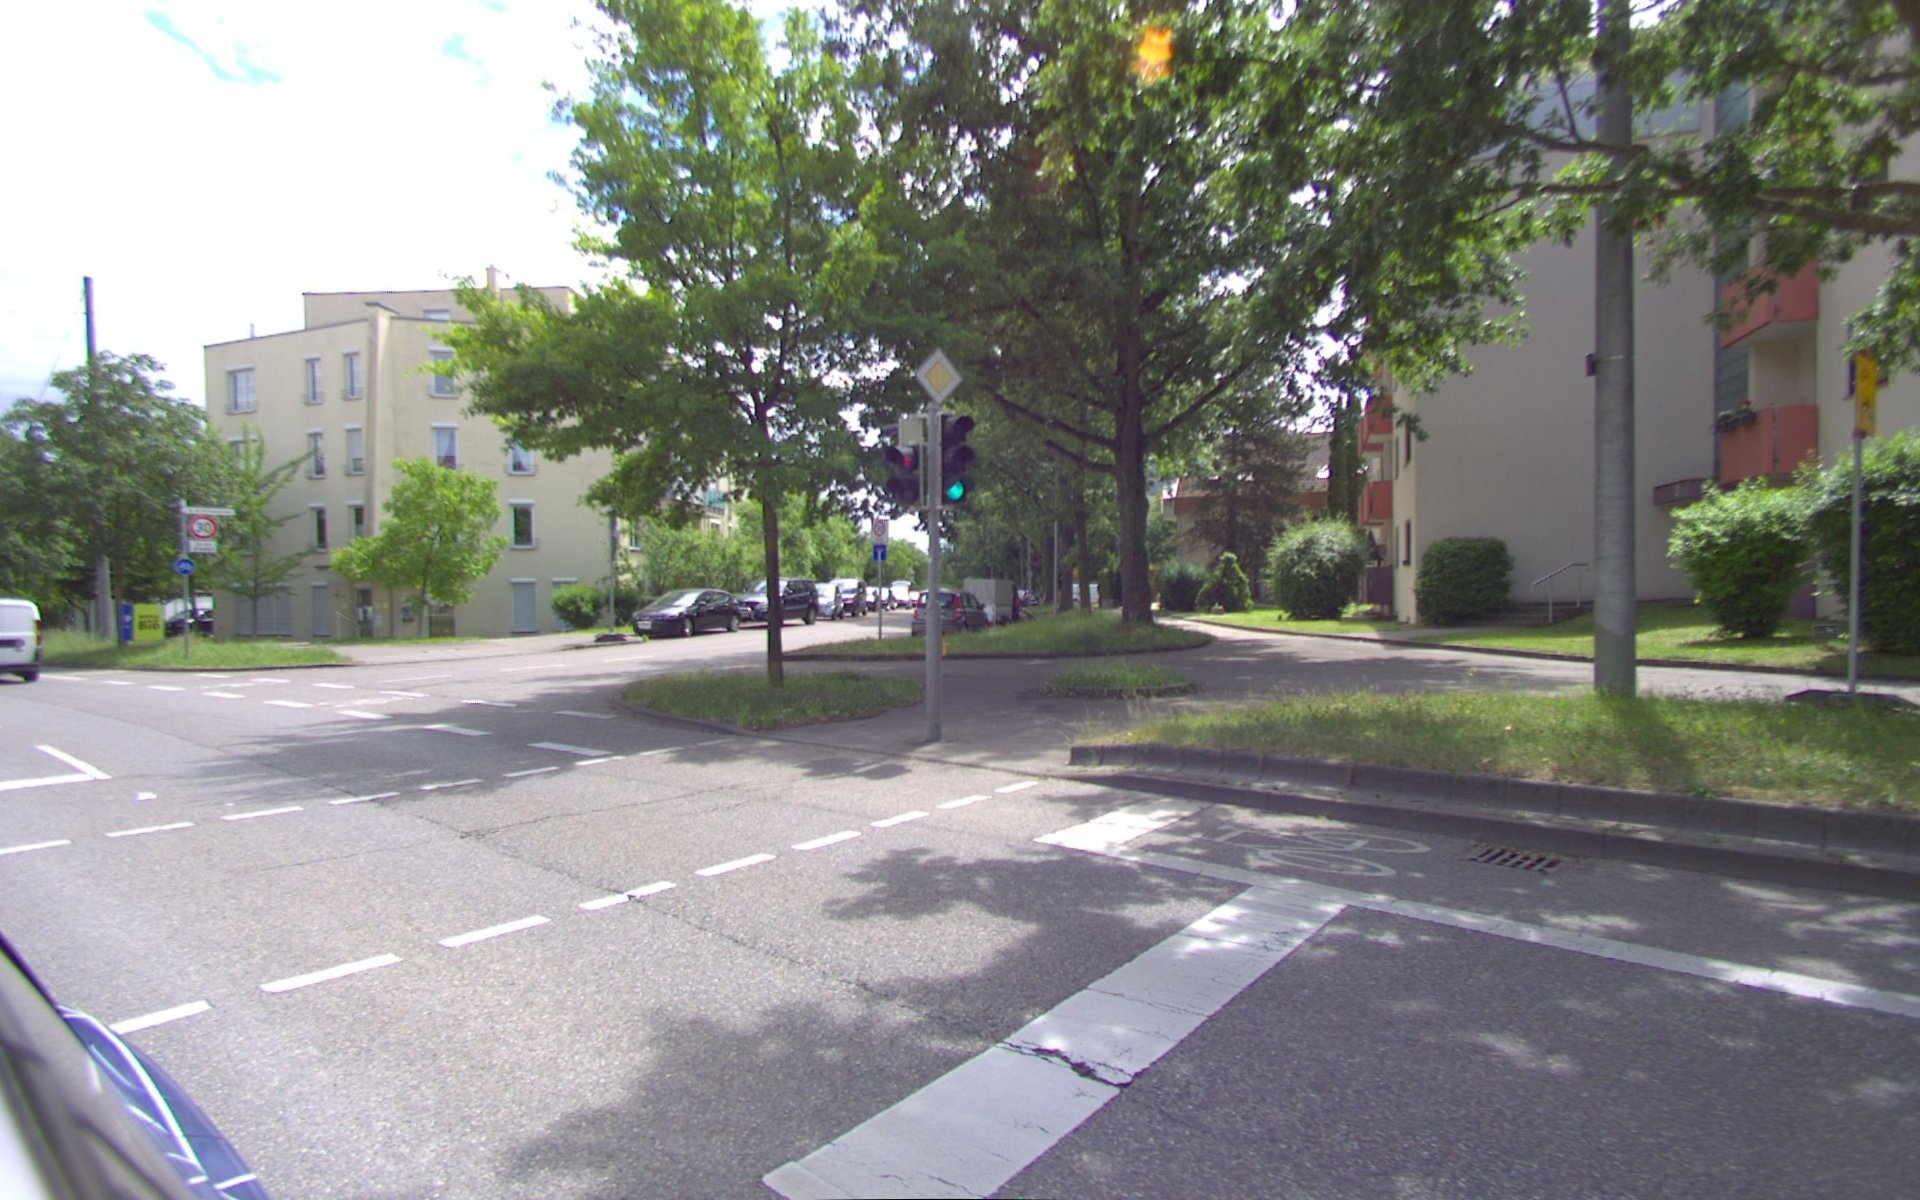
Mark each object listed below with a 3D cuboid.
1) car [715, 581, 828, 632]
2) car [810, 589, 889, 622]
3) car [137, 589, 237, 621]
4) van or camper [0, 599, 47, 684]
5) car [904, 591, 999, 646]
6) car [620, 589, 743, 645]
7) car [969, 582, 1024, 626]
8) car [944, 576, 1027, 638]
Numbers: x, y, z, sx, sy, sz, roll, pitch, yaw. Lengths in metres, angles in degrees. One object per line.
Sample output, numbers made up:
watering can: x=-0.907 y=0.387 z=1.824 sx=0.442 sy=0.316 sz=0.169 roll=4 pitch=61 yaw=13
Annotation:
car: x=-6.831 y=0.175 z=37.292 sx=2.085 sy=1.615 sz=4.764 roll=0 pitch=3 yaw=18
car: x=-4.693 y=0.243 z=43.543 sx=1.958 sy=1.342 sz=3.977 roll=0 pitch=-1 yaw=18
car: x=-37.411 y=0.264 z=49.096 sx=1.769 sy=1.431 sz=3.998 roll=-2 pitch=-1 yaw=1
van or camper: x=-22.258 y=0.942 z=22.515 sx=4.368 sy=1.789 sz=1.846 roll=-1 pitch=1 yaw=34
car: x=-0.177 y=0.514 z=30.392 sx=1.682 sy=1.463 sz=3.977 roll=-2 pitch=0 yaw=17
car: x=-8.751 y=0.500 z=32.160 sx=1.723 sy=1.408 sz=4.129 roll=-1 pitch=3 yaw=18
car: x=1.543 y=0.149 z=44.796 sx=2.096 sy=1.807 sz=4.420 roll=-2 pitch=1 yaw=-2
car: x=0.943 y=0.189 z=34.596 sx=1.830 sy=1.858 sz=3.979 roll=-1 pitch=3 yaw=17
